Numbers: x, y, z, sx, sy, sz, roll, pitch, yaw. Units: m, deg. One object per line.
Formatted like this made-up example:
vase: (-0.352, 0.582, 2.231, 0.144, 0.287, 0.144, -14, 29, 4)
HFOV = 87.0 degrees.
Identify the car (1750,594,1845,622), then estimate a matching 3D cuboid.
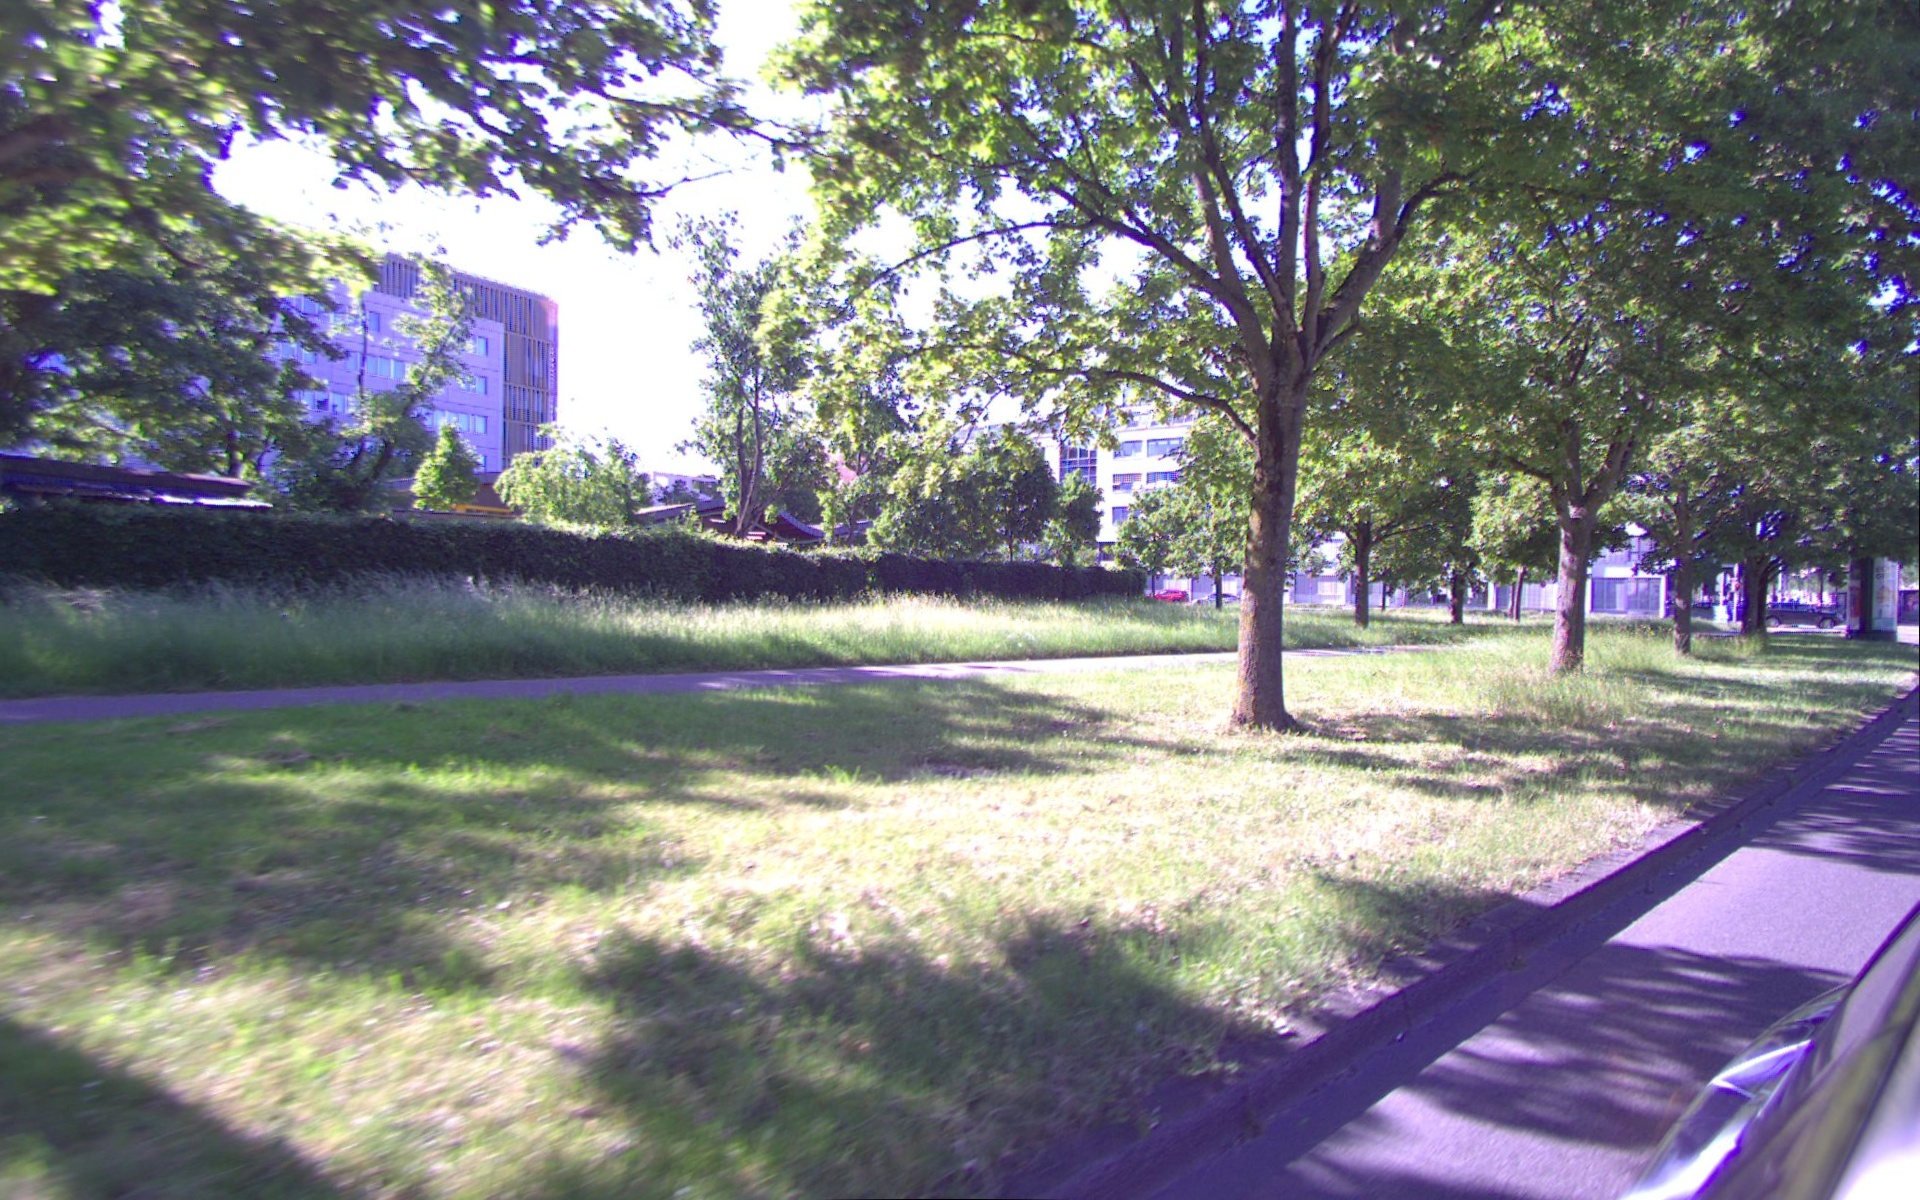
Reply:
car: (54.404, 0.510, 65.875, 4.603, 1.643, 1.974, 2, 1, 36)

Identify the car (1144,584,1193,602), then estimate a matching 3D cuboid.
car: (20.117, -0.668, 97.846, 4.254, 1.615, 1.898, 2, 1, 32)

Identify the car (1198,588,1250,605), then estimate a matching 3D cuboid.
car: (24.248, -0.298, 92.851, 4.254, 1.438, 1.898, 2, 1, 32)
